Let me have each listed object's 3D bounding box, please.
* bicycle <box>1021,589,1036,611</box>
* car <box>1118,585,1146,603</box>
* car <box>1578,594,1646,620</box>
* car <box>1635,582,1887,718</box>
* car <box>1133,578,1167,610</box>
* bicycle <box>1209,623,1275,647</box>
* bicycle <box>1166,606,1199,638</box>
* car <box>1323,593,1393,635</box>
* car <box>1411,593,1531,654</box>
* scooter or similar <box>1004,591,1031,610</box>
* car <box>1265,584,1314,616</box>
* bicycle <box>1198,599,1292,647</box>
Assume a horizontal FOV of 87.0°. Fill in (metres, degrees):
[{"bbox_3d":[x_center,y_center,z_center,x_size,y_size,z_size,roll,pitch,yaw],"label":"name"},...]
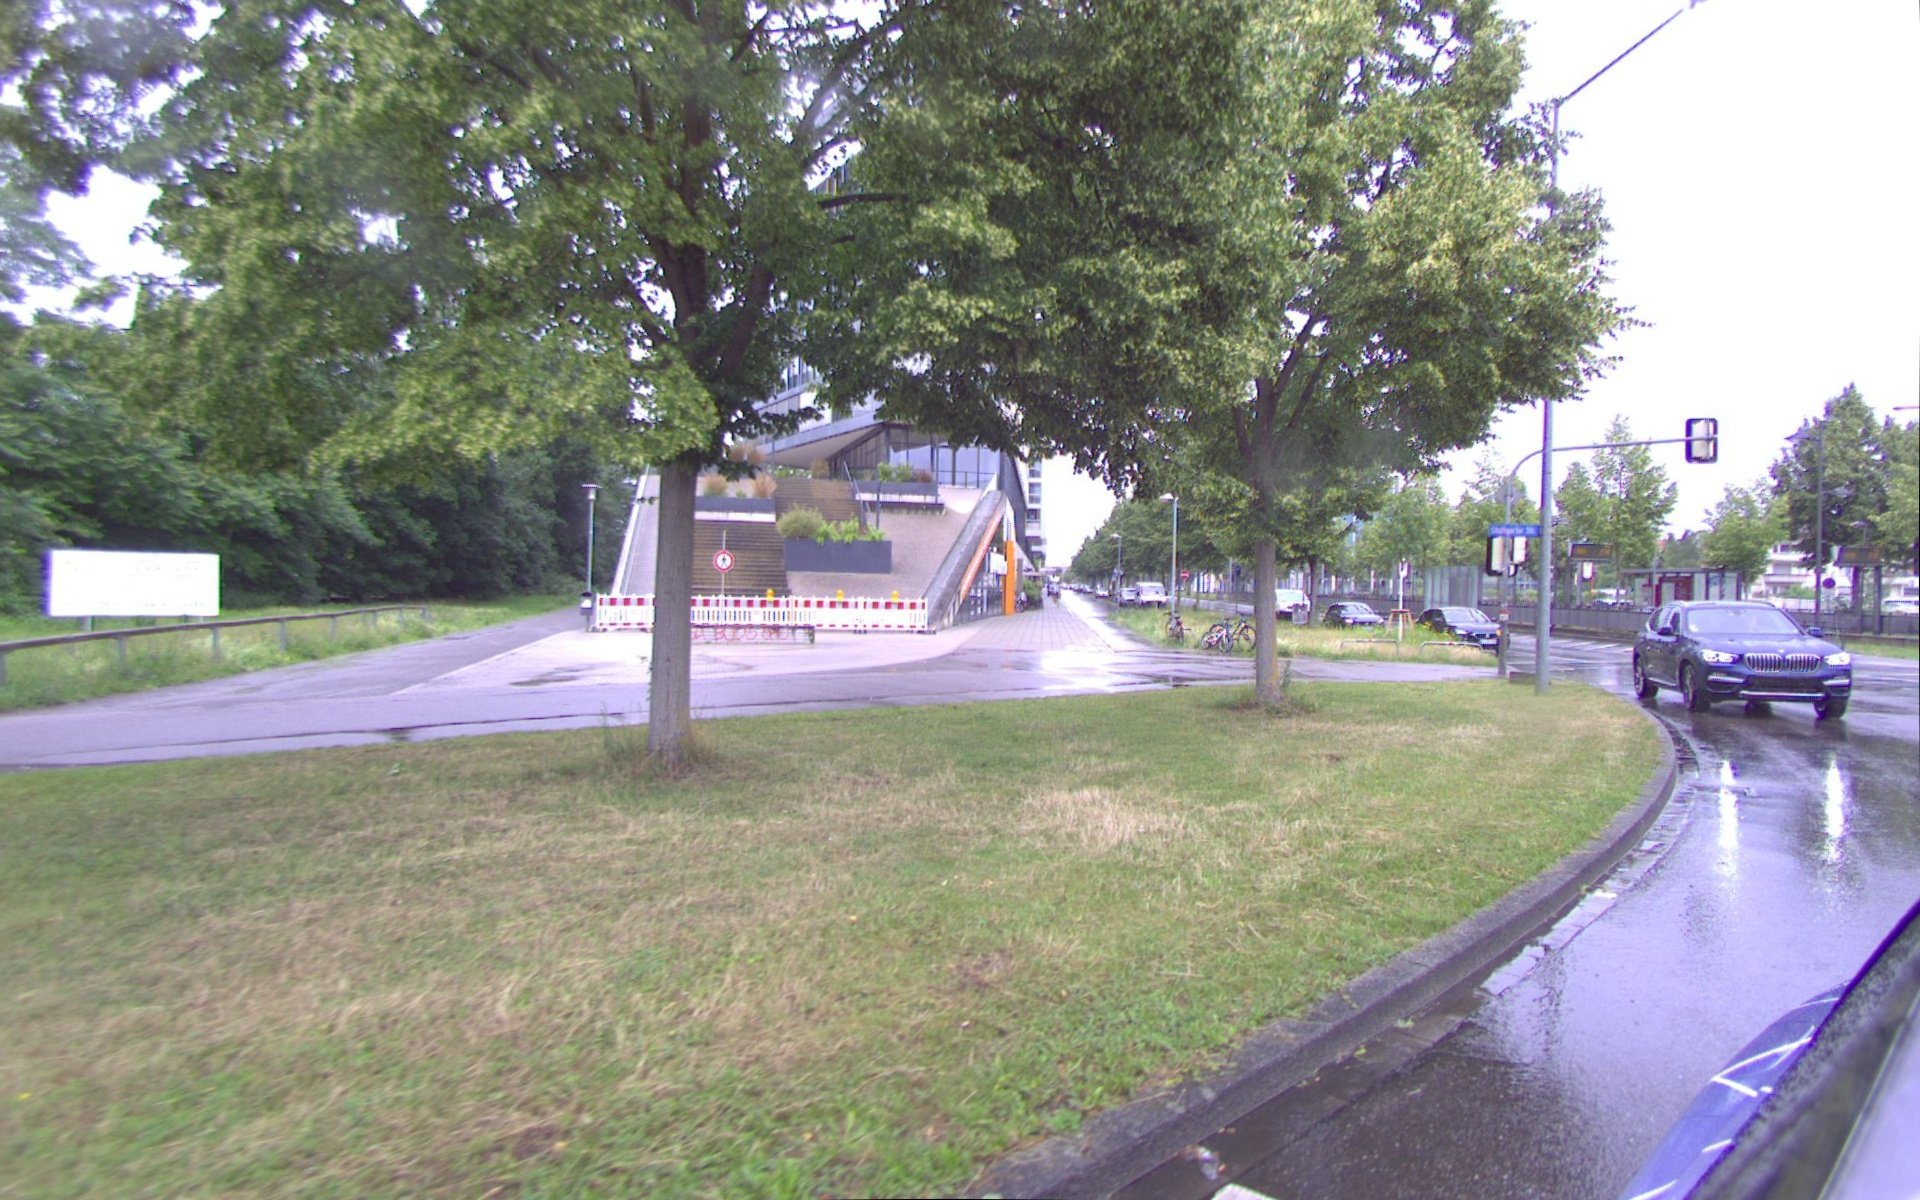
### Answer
[{"bbox_3d":[4.432,-0.024,65.126,0.868,1.364,2.693,-1,1,6],"label":"bicycle"},{"bbox_3d":[15.742,-0.548,92.710,1.963,1.571,3.999,-1,1,1],"label":"car"},{"bbox_3d":[42.169,0.415,65.591,1.818,1.504,4.223,-1,1,3],"label":"car"},{"bbox_3d":[12.200,0.642,15.783,1.895,1.768,4.351,-1,1,22],"label":"car"},{"bbox_3d":[14.283,-0.490,76.174,2.050,2.229,5.089,-1,1,6],"label":"car"},{"bbox_3d":[7.467,0.909,26.865,0.315,0.566,1.799,1,0,-42],"label":"bicycle"},{"bbox_3d":[6.535,0.632,29.832,0.625,0.857,2.162,0,0,3],"label":"bicycle"},{"bbox_3d":[17.142,0.569,43.761,1.758,1.668,3.994,-1,1,6],"label":"car"},{"bbox_3d":[16.347,0.700,32.643,1.884,1.768,4.378,-1,1,5],"label":"car"},{"bbox_3d":[3.517,0.022,61.446,0.803,1.113,2.594,-1,1,24],"label":"scooter or similar"},{"bbox_3d":[18.334,-0.004,56.402,1.758,1.668,3.994,-1,1,6],"label":"car"},{"bbox_3d":[7.615,0.602,27.137,0.544,1.204,2.520,1,0,-42],"label":"bicycle"}]
